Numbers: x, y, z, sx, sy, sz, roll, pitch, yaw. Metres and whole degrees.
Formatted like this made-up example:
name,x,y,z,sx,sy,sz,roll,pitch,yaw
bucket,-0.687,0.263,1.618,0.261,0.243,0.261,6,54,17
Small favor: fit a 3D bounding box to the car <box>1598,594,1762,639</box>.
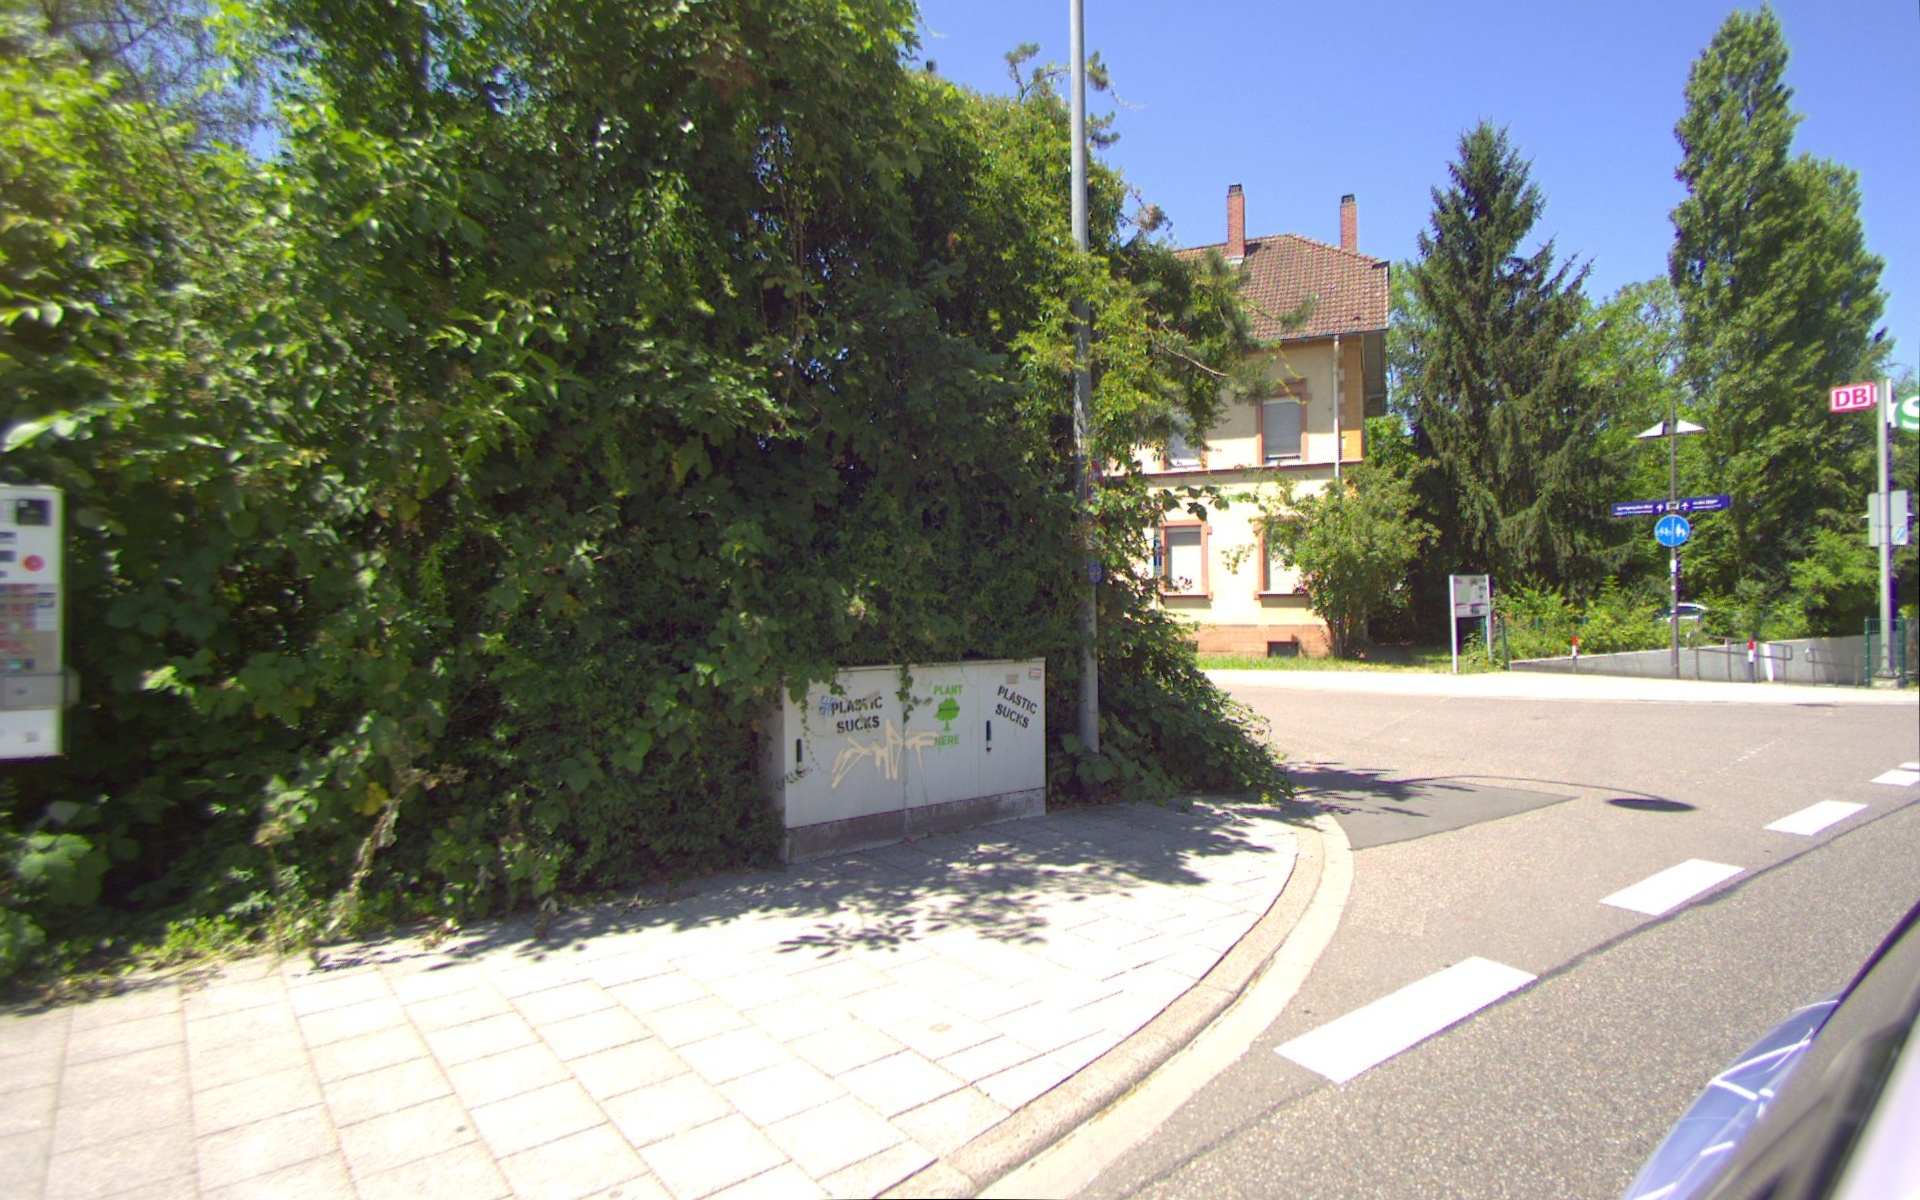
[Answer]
name,x,y,z,sx,sy,sz,roll,pitch,yaw
car,25.463,0.585,36.000,4.451,1.519,1.755,0,-1,25
